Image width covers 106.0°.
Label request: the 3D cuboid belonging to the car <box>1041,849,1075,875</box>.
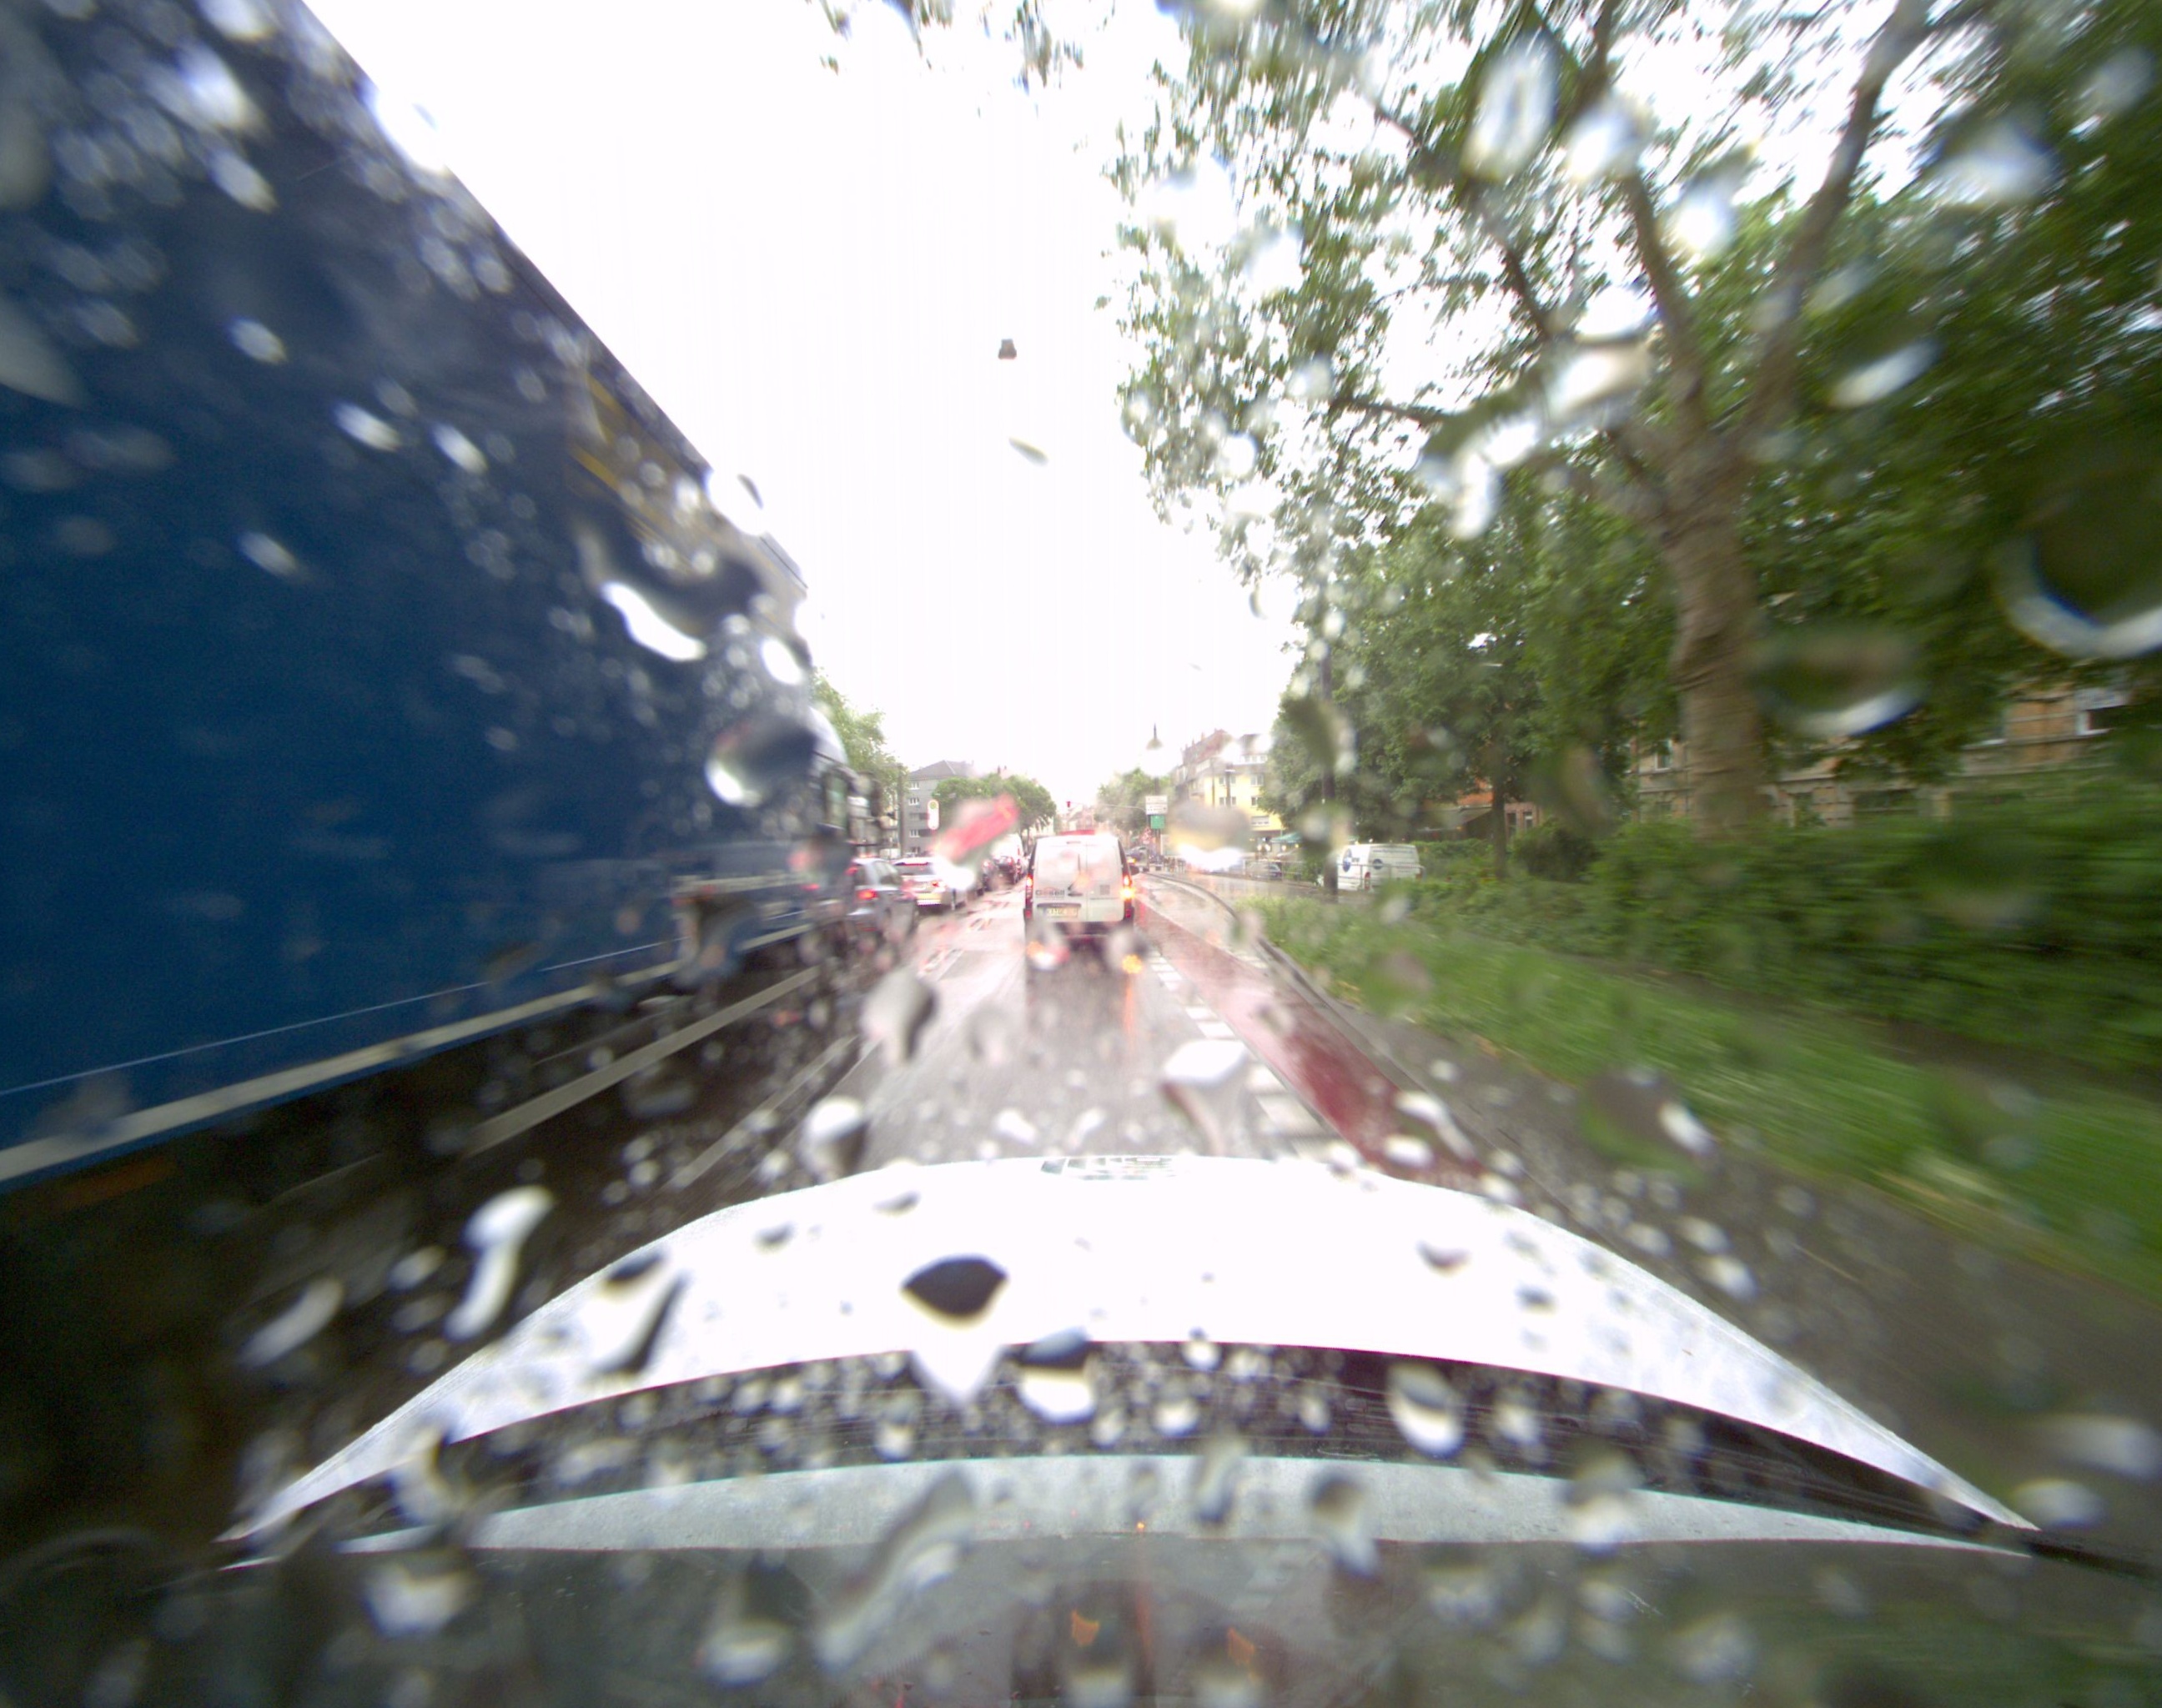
[{"bbox_3d":[-1.280,0.478,47.411,1.754,1.469,3.534,-1,-1,2],"label":"car"}]

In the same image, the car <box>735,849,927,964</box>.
[{"bbox_3d":[-4.007,0.744,13.872,1.988,1.537,4.131,-3,1,-1],"label":"car"}]

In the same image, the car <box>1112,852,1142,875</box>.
[{"bbox_3d":[3.179,0.633,56.252,1.985,1.542,4.003,-1,0,3],"label":"car"}]

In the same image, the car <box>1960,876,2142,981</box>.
[{"bbox_3d":[19.101,1.350,16.008,3.818,1.559,1.897,-3,1,-34],"label":"car"}]

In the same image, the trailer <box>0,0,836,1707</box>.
[{"bbox_3d":[-3.306,-0.380,3.200,2.584,3.899,7.630,-1,0,-2],"label":"trailer"}]

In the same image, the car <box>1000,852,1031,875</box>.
[{"bbox_3d":[-4.748,0.690,59.393,1.988,1.596,4.609,0,0,-1],"label":"car"}]

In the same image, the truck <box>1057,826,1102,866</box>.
[{"bbox_3d":[-0.360,-1.000,108.047,3.282,4.899,11.350,-3,1,-13],"label":"truck"}]

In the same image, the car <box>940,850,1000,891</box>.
[{"bbox_3d":[-4.505,0.637,33.637,1.988,1.578,4.289,0,0,-1],"label":"car"}]

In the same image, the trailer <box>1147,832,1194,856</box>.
[{"bbox_3d":[8.834,-0.976,80.212,4.693,2.317,1.976,0,-1,-41],"label":"trailer"}]

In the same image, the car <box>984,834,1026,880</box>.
[{"bbox_3d":[-4.240,0.176,45.899,1.988,2.442,4.609,0,0,-1],"label":"car"}]

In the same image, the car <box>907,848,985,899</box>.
[{"bbox_3d":[-4.490,0.628,27.689,1.988,1.578,4.289,0,0,-1],"label":"car"}]

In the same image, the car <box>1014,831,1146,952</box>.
[{"bbox_3d":[-0.041,0.581,13.959,1.953,1.777,3.567,-1,-1,-1],"label":"car"}]

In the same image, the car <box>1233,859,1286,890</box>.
[{"bbox_3d":[9.958,1.085,45.728,1.818,1.490,4.349,-3,1,-2],"label":"car"}]

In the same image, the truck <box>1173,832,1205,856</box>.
[{"bbox_3d":[10.855,-0.977,81.885,2.662,2.299,1.976,0,-1,-40],"label":"truck"}]

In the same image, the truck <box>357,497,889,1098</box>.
[{"bbox_3d":[-3.464,-0.395,7.355,2.574,3.904,3.997,-1,0,-2],"label":"truck"}]

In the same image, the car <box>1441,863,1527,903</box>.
[{"bbox_3d":[17.304,1.191,34.917,3.687,1.437,1.691,-3,1,-34],"label":"car"}]

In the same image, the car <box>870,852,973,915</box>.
[{"bbox_3d":[-4.149,0.709,21.842,1.988,1.472,4.264,0,1,-1],"label":"car"}]

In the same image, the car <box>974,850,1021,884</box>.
[{"bbox_3d":[-4.080,0.603,40.381,1.988,1.578,4.289,0,0,-1],"label":"car"}]

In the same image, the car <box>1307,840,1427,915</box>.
[{"bbox_3d":[10.800,0.771,31.341,2.175,2.532,5.770,-3,1,-4],"label":"car"}]
